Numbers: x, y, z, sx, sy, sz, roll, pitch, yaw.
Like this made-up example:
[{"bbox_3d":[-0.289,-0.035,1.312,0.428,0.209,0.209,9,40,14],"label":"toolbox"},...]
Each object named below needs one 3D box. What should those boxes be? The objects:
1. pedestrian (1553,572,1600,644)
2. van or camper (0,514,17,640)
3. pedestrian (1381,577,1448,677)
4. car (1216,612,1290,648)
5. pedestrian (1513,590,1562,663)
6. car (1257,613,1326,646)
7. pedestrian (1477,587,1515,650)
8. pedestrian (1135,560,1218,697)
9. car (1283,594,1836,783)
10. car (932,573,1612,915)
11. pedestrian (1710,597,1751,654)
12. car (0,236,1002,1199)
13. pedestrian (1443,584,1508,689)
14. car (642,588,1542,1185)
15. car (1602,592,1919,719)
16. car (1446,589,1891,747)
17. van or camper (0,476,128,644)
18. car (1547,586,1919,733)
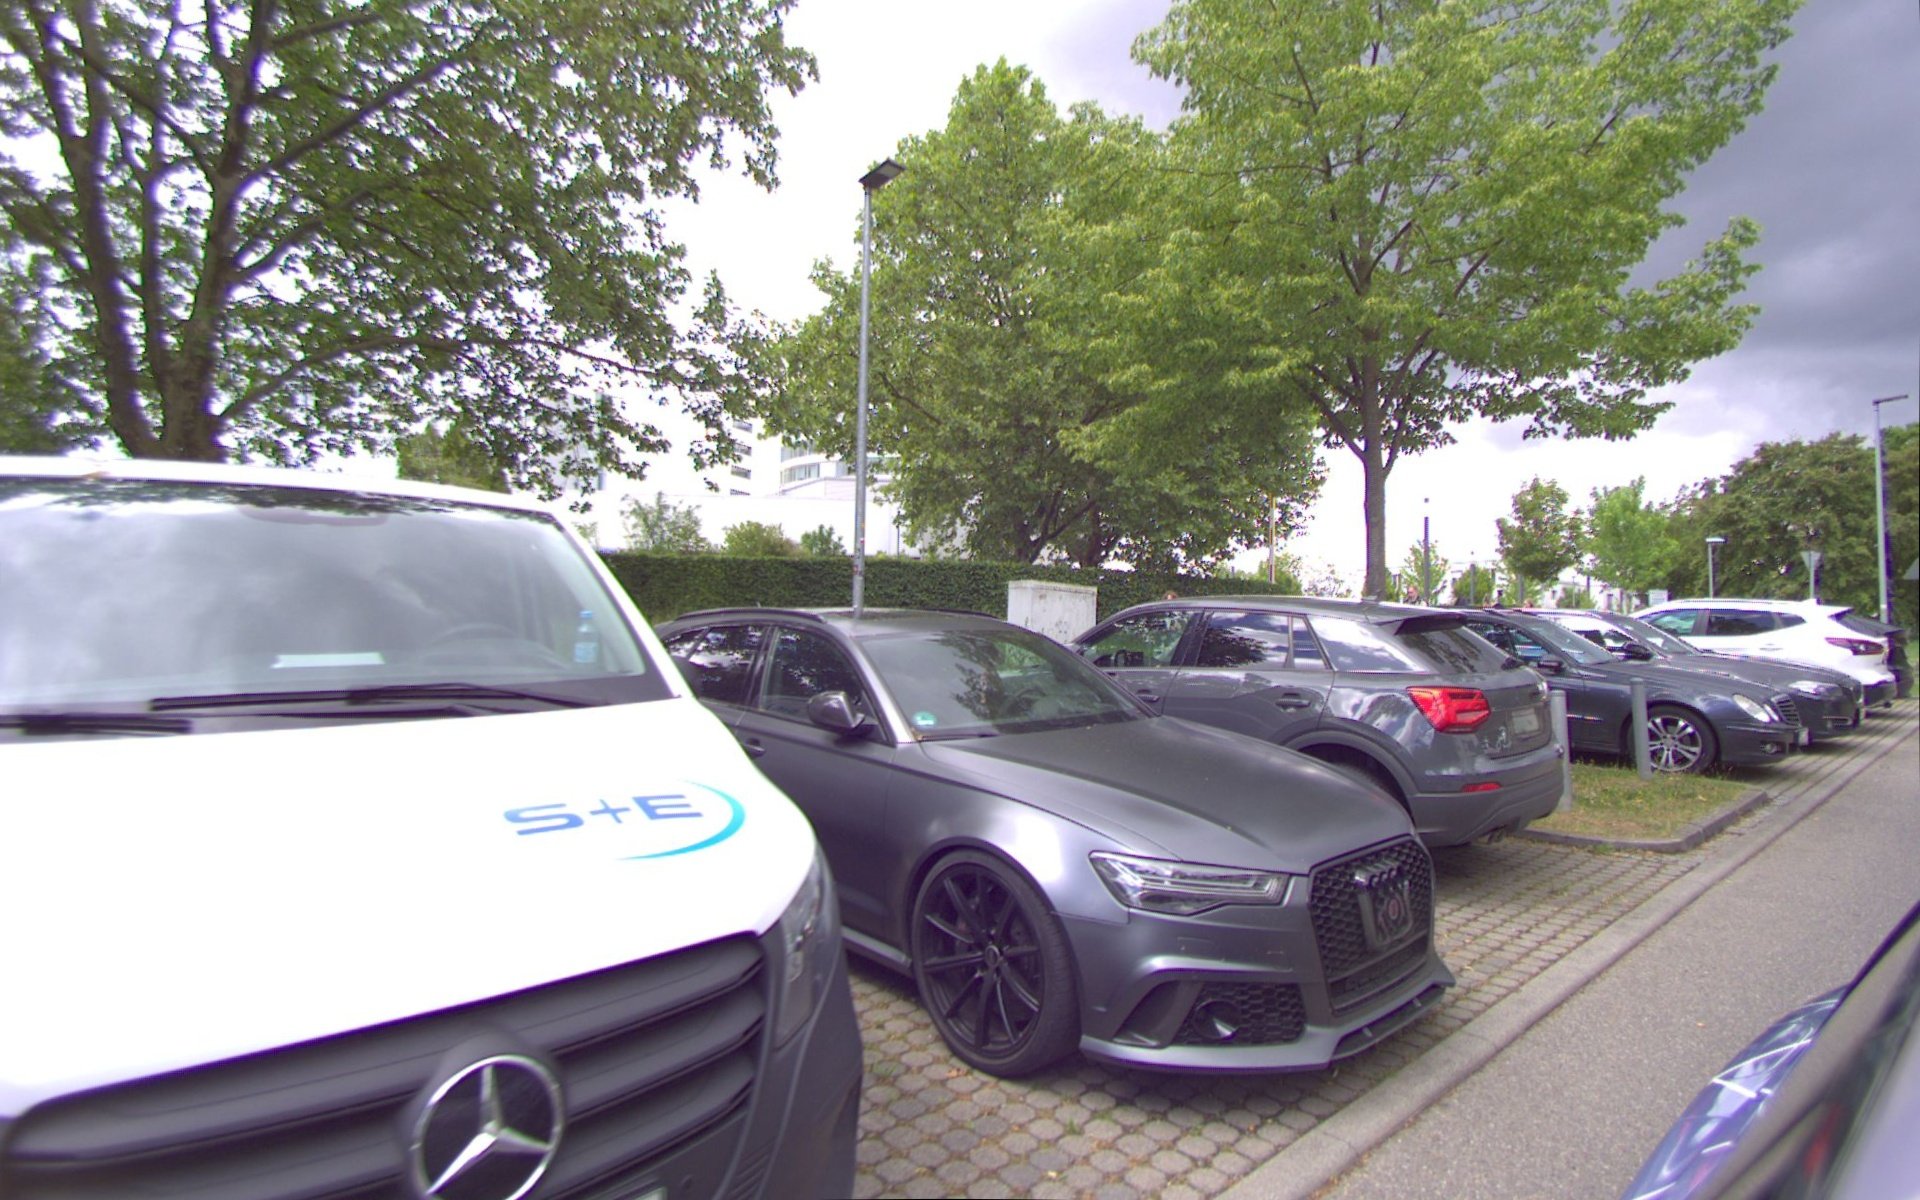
[{"bbox_3d":[13.141,0.179,21.572,0.723,1.487,0.619,2,-3,-40],"label":"pedestrian"},{"bbox_3d":[-22.557,-0.562,20.927,2.073,2.834,4.482,0,-2,-4],"label":"van or camper"},{"bbox_3d":[8.531,0.503,19.015,0.862,1.816,0.832,2,-3,-40],"label":"pedestrian"},{"bbox_3d":[17.400,1.776,60.070,3.956,2.040,1.983,-1,-2,24],"label":"car"},{"bbox_3d":[13.312,0.608,23.325,0.915,1.642,0.688,2,-3,-40],"label":"pedestrian"},{"bbox_3d":[20.933,1.867,63.819,3.956,2.040,1.983,-1,-2,24],"label":"car"},{"bbox_3d":[14.894,0.509,28.119,0.692,1.733,0.656,1,-2,-34],"label":"pedestrian"},{"bbox_3d":[2.987,0.390,13.963,0.862,1.816,0.741,2,-3,-40],"label":"pedestrian"},{"bbox_3d":[5.903,0.706,10.434,1.919,1.511,4.579,0,0,-43],"label":"car"},{"bbox_3d":[1.796,0.619,6.617,1.880,1.539,3.827,1,1,-44],"label":"car"},{"bbox_3d":[24.151,0.798,31.732,0.753,1.744,0.880,-1,-2,20],"label":"pedestrian"},{"bbox_3d":[-2.118,0.484,3.350,1.809,1.854,4.785,1,1,-39],"label":"car"},{"bbox_3d":[9.215,0.647,18.090,0.862,1.816,0.741,2,-3,-40],"label":"pedestrian"},{"bbox_3d":[0.148,0.672,4.503,1.808,1.388,3.835,1,1,-37],"label":"car"},{"bbox_3d":[11.687,0.709,14.682,1.564,1.594,3.678,-1,0,-38],"label":"car"},{"bbox_3d":[8.195,0.703,11.989,1.851,1.538,3.992,0,-1,-42],"label":"car"},{"bbox_3d":[-17.392,-0.642,17.955,2.071,2.834,4.486,0,-2,-10],"label":"van or camper"},{"bbox_3d":[10.195,0.674,13.525,1.818,1.668,3.679,1,0,-38],"label":"car"}]
